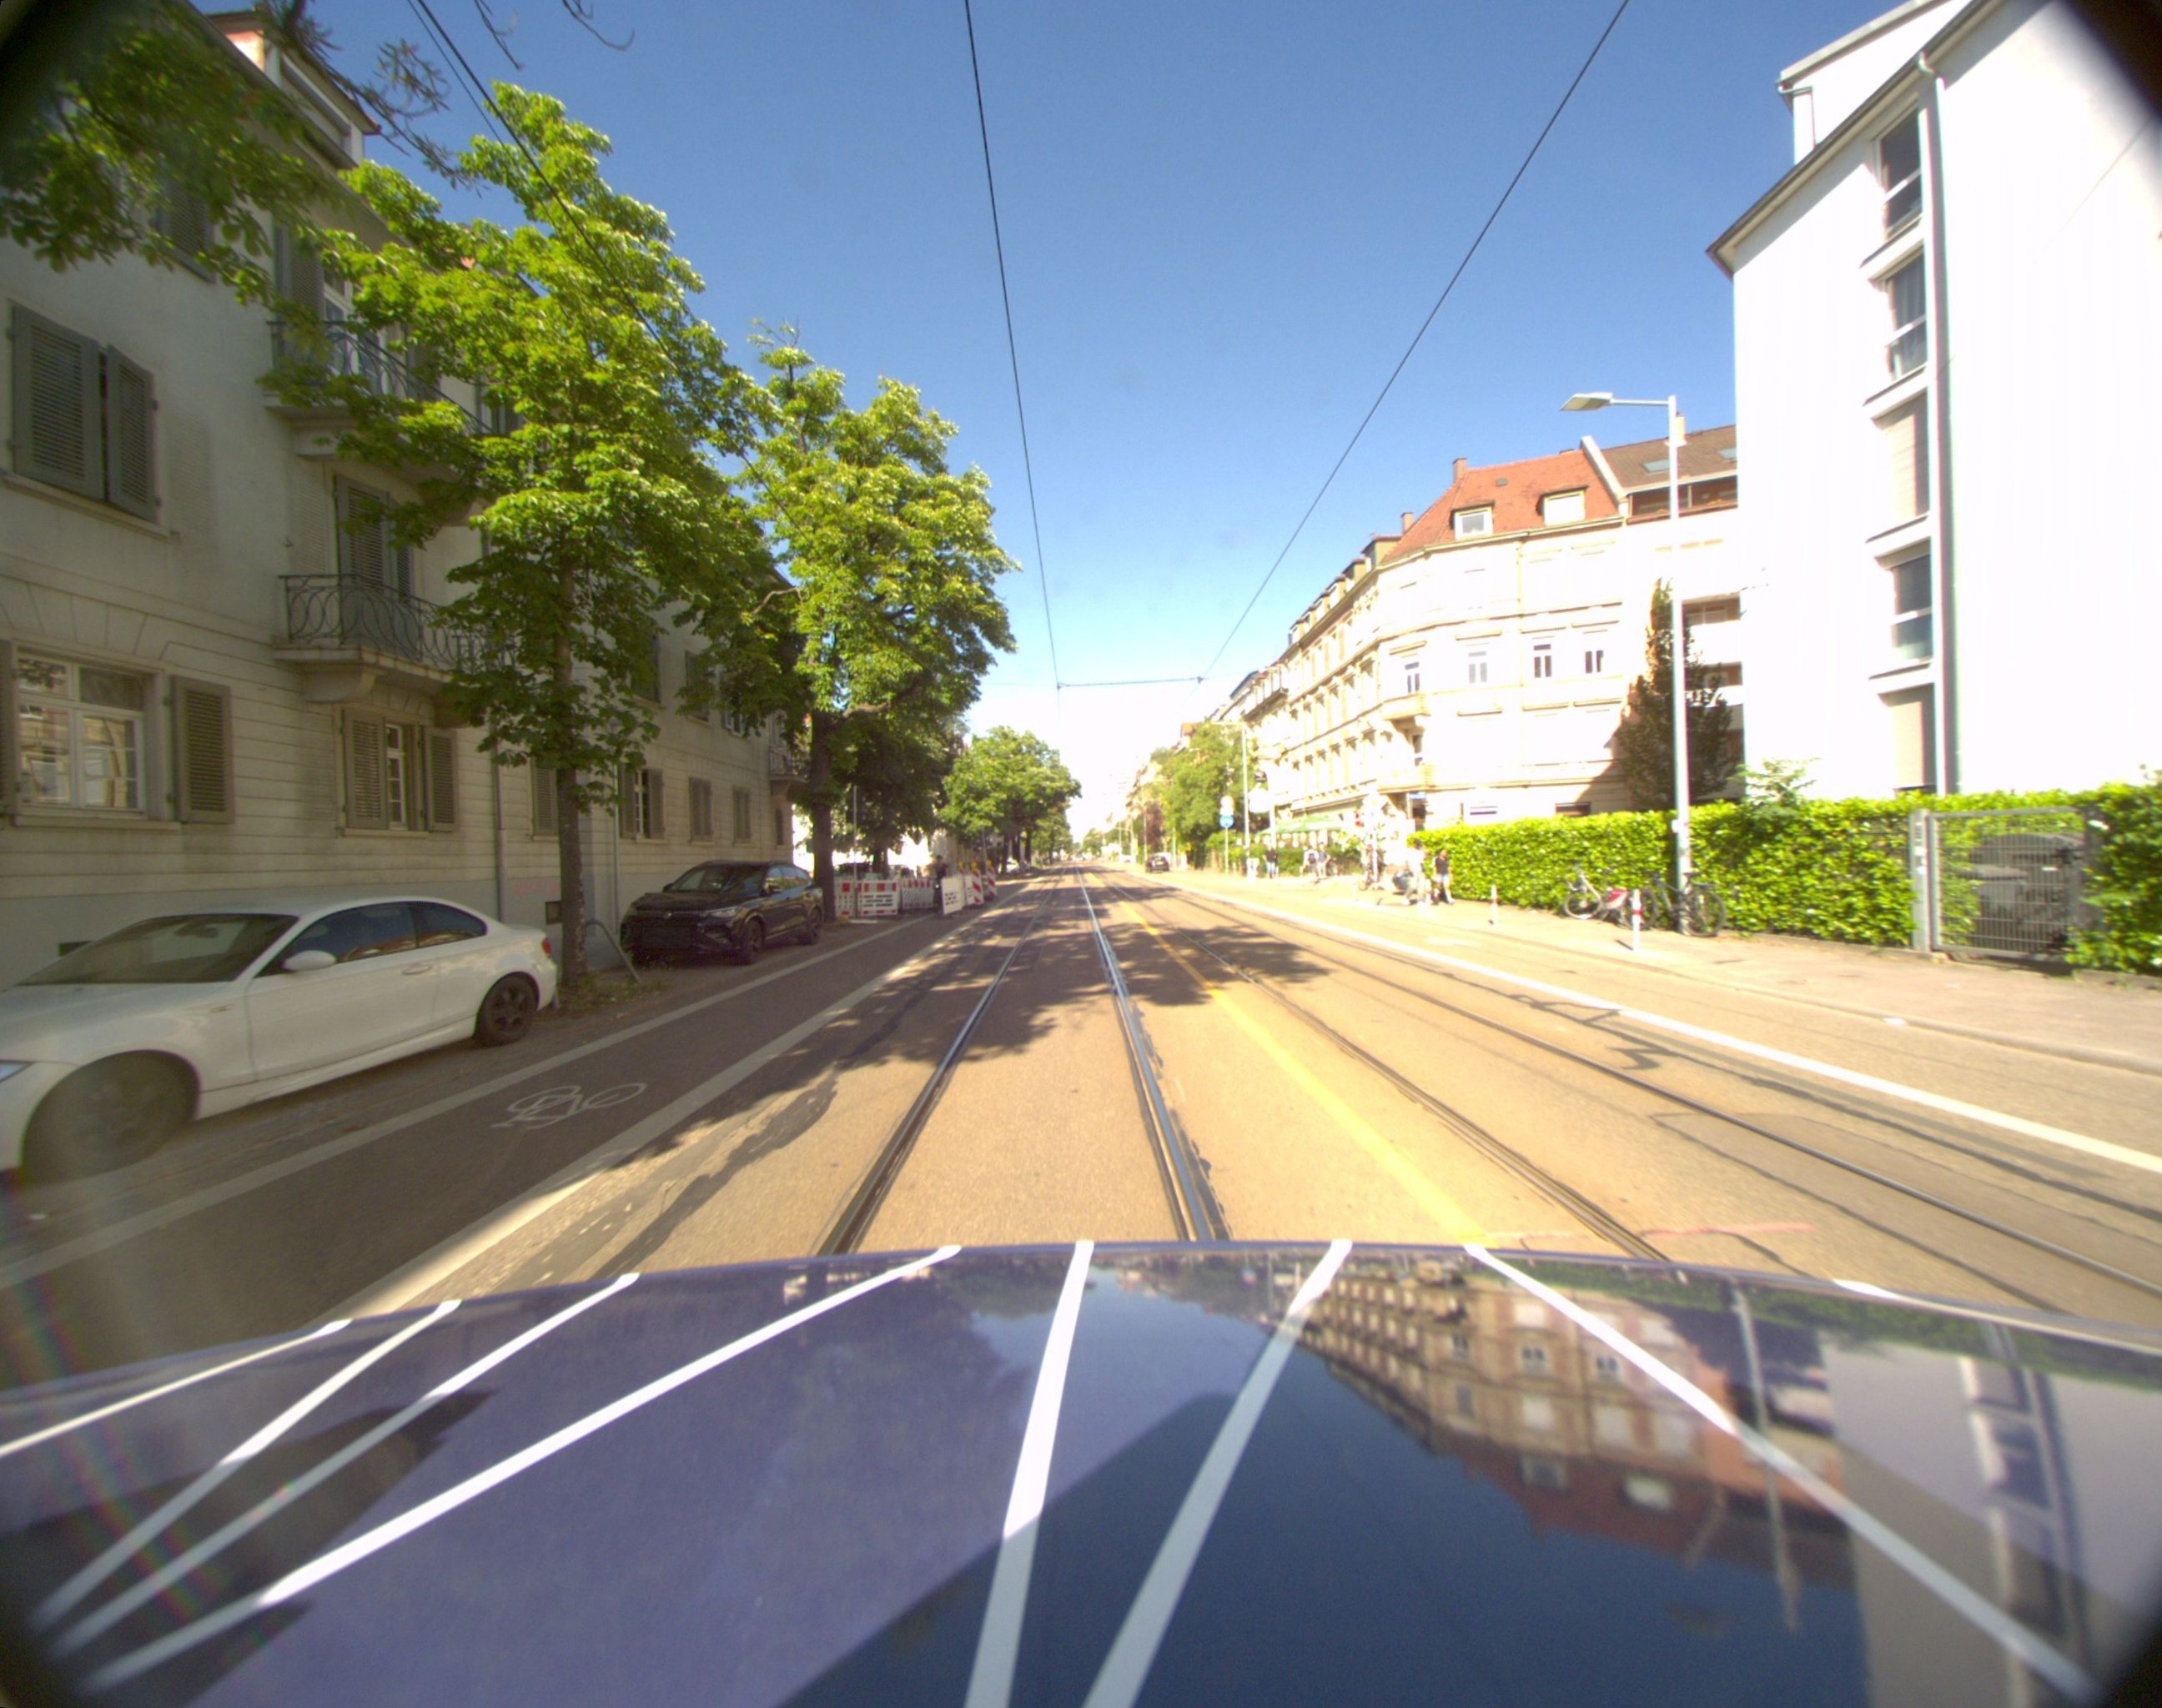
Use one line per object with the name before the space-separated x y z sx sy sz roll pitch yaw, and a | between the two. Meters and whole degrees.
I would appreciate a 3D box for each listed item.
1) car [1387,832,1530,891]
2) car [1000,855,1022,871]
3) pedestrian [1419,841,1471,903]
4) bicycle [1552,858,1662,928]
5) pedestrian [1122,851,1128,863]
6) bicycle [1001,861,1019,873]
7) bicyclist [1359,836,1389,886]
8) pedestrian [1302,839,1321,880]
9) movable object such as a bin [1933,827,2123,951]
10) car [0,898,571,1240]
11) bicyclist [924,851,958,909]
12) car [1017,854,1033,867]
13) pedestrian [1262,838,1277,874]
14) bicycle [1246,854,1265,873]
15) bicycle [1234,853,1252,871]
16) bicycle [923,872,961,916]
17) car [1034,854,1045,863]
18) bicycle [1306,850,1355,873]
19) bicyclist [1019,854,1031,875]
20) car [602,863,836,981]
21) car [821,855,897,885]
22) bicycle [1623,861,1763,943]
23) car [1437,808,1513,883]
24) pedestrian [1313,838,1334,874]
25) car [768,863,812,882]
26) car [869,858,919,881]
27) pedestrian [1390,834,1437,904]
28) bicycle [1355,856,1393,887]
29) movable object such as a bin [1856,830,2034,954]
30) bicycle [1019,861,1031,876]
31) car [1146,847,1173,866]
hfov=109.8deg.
car | 12.290 0.238 25.039 4.045 1.797 1.794 -1 2 21
car | -6.589 0.843 72.090 1.705 1.463 4.213 -1 0 0
pedestrian | 9.140 0.431 19.100 0.756 1.469 0.956 -4 1 0
bicycle | 9.491 0.670 13.815 0.663 1.083 1.840 -5 1 0
pedestrian | 7.029 0.510 120.936 0.809 1.825 0.754 -2 1 8
bicycle | -6.281 1.121 66.985 1.570 0.974 0.640 -1 0 -9
bicyclist | 11.147 0.247 28.889 0.705 1.843 0.987 0 3 43
pedestrian | 10.119 0.237 33.373 0.692 1.758 0.867 -2 1 20
movable object such as a bin | 11.814 0.409 9.539 0.809 1.448 1.258 -1 0 -2
car | -5.926 1.132 5.282 1.728 1.374 4.356 0 0 1
bicyclist | -4.355 0.778 23.715 0.763 1.728 1.046 -3 1 -1
car | -6.655 0.784 90.696 1.824 1.475 4.748 -1 0 -3
pedestrian | 9.583 0.093 38.558 0.558 1.771 0.538 -2 1 -4
bicycle | 9.190 0.478 40.088 0.528 0.975 1.777 -2 0 0
bicycle | 9.343 0.444 43.904 0.515 1.032 2.223 -2 0 0
bicycle | -4.329 1.220 23.780 0.763 1.235 2.096 -3 0 -1
car | -6.817 0.696 125.153 1.761 1.458 4.612 -1 0 -3
bicycle | 12.533 0.368 38.221 2.244 1.038 0.876 -2 2 9
bicyclist | -4.271 0.785 58.001 0.776 1.505 1.229 -3 1 -3
car | -5.906 0.993 13.126 1.815 1.616 4.583 0 0 0
car | -15.841 1.137 54.208 5.054 1.880 2.002 -2 3 26
bicycle | 9.518 0.706 11.922 0.663 1.083 1.840 -5 1 0
car | 16.284 -0.408 31.628 1.889 2.825 4.788 -1 2 17
pedestrian | 11.533 0.093 36.136 0.705 1.645 0.834 -1 2 31
car | -24.511 1.552 63.928 3.493 1.491 1.440 -2 2 27
car | -14.658 1.222 59.631 3.431 1.530 1.724 -2 4 27
pedestrian | 8.382 0.369 19.182 0.756 1.704 0.808 -4 1 0
bicycle | 11.181 0.664 28.933 0.705 1.049 1.839 0 3 43
movable object such as a bin | 10.885 0.450 9.631 0.809 1.448 1.258 -1 0 -2
bicycle | -4.260 1.119 57.999 0.776 1.080 2.058 -3 0 -3
car | 6.750 0.221 65.812 1.869 1.567 4.588 0 0 0
